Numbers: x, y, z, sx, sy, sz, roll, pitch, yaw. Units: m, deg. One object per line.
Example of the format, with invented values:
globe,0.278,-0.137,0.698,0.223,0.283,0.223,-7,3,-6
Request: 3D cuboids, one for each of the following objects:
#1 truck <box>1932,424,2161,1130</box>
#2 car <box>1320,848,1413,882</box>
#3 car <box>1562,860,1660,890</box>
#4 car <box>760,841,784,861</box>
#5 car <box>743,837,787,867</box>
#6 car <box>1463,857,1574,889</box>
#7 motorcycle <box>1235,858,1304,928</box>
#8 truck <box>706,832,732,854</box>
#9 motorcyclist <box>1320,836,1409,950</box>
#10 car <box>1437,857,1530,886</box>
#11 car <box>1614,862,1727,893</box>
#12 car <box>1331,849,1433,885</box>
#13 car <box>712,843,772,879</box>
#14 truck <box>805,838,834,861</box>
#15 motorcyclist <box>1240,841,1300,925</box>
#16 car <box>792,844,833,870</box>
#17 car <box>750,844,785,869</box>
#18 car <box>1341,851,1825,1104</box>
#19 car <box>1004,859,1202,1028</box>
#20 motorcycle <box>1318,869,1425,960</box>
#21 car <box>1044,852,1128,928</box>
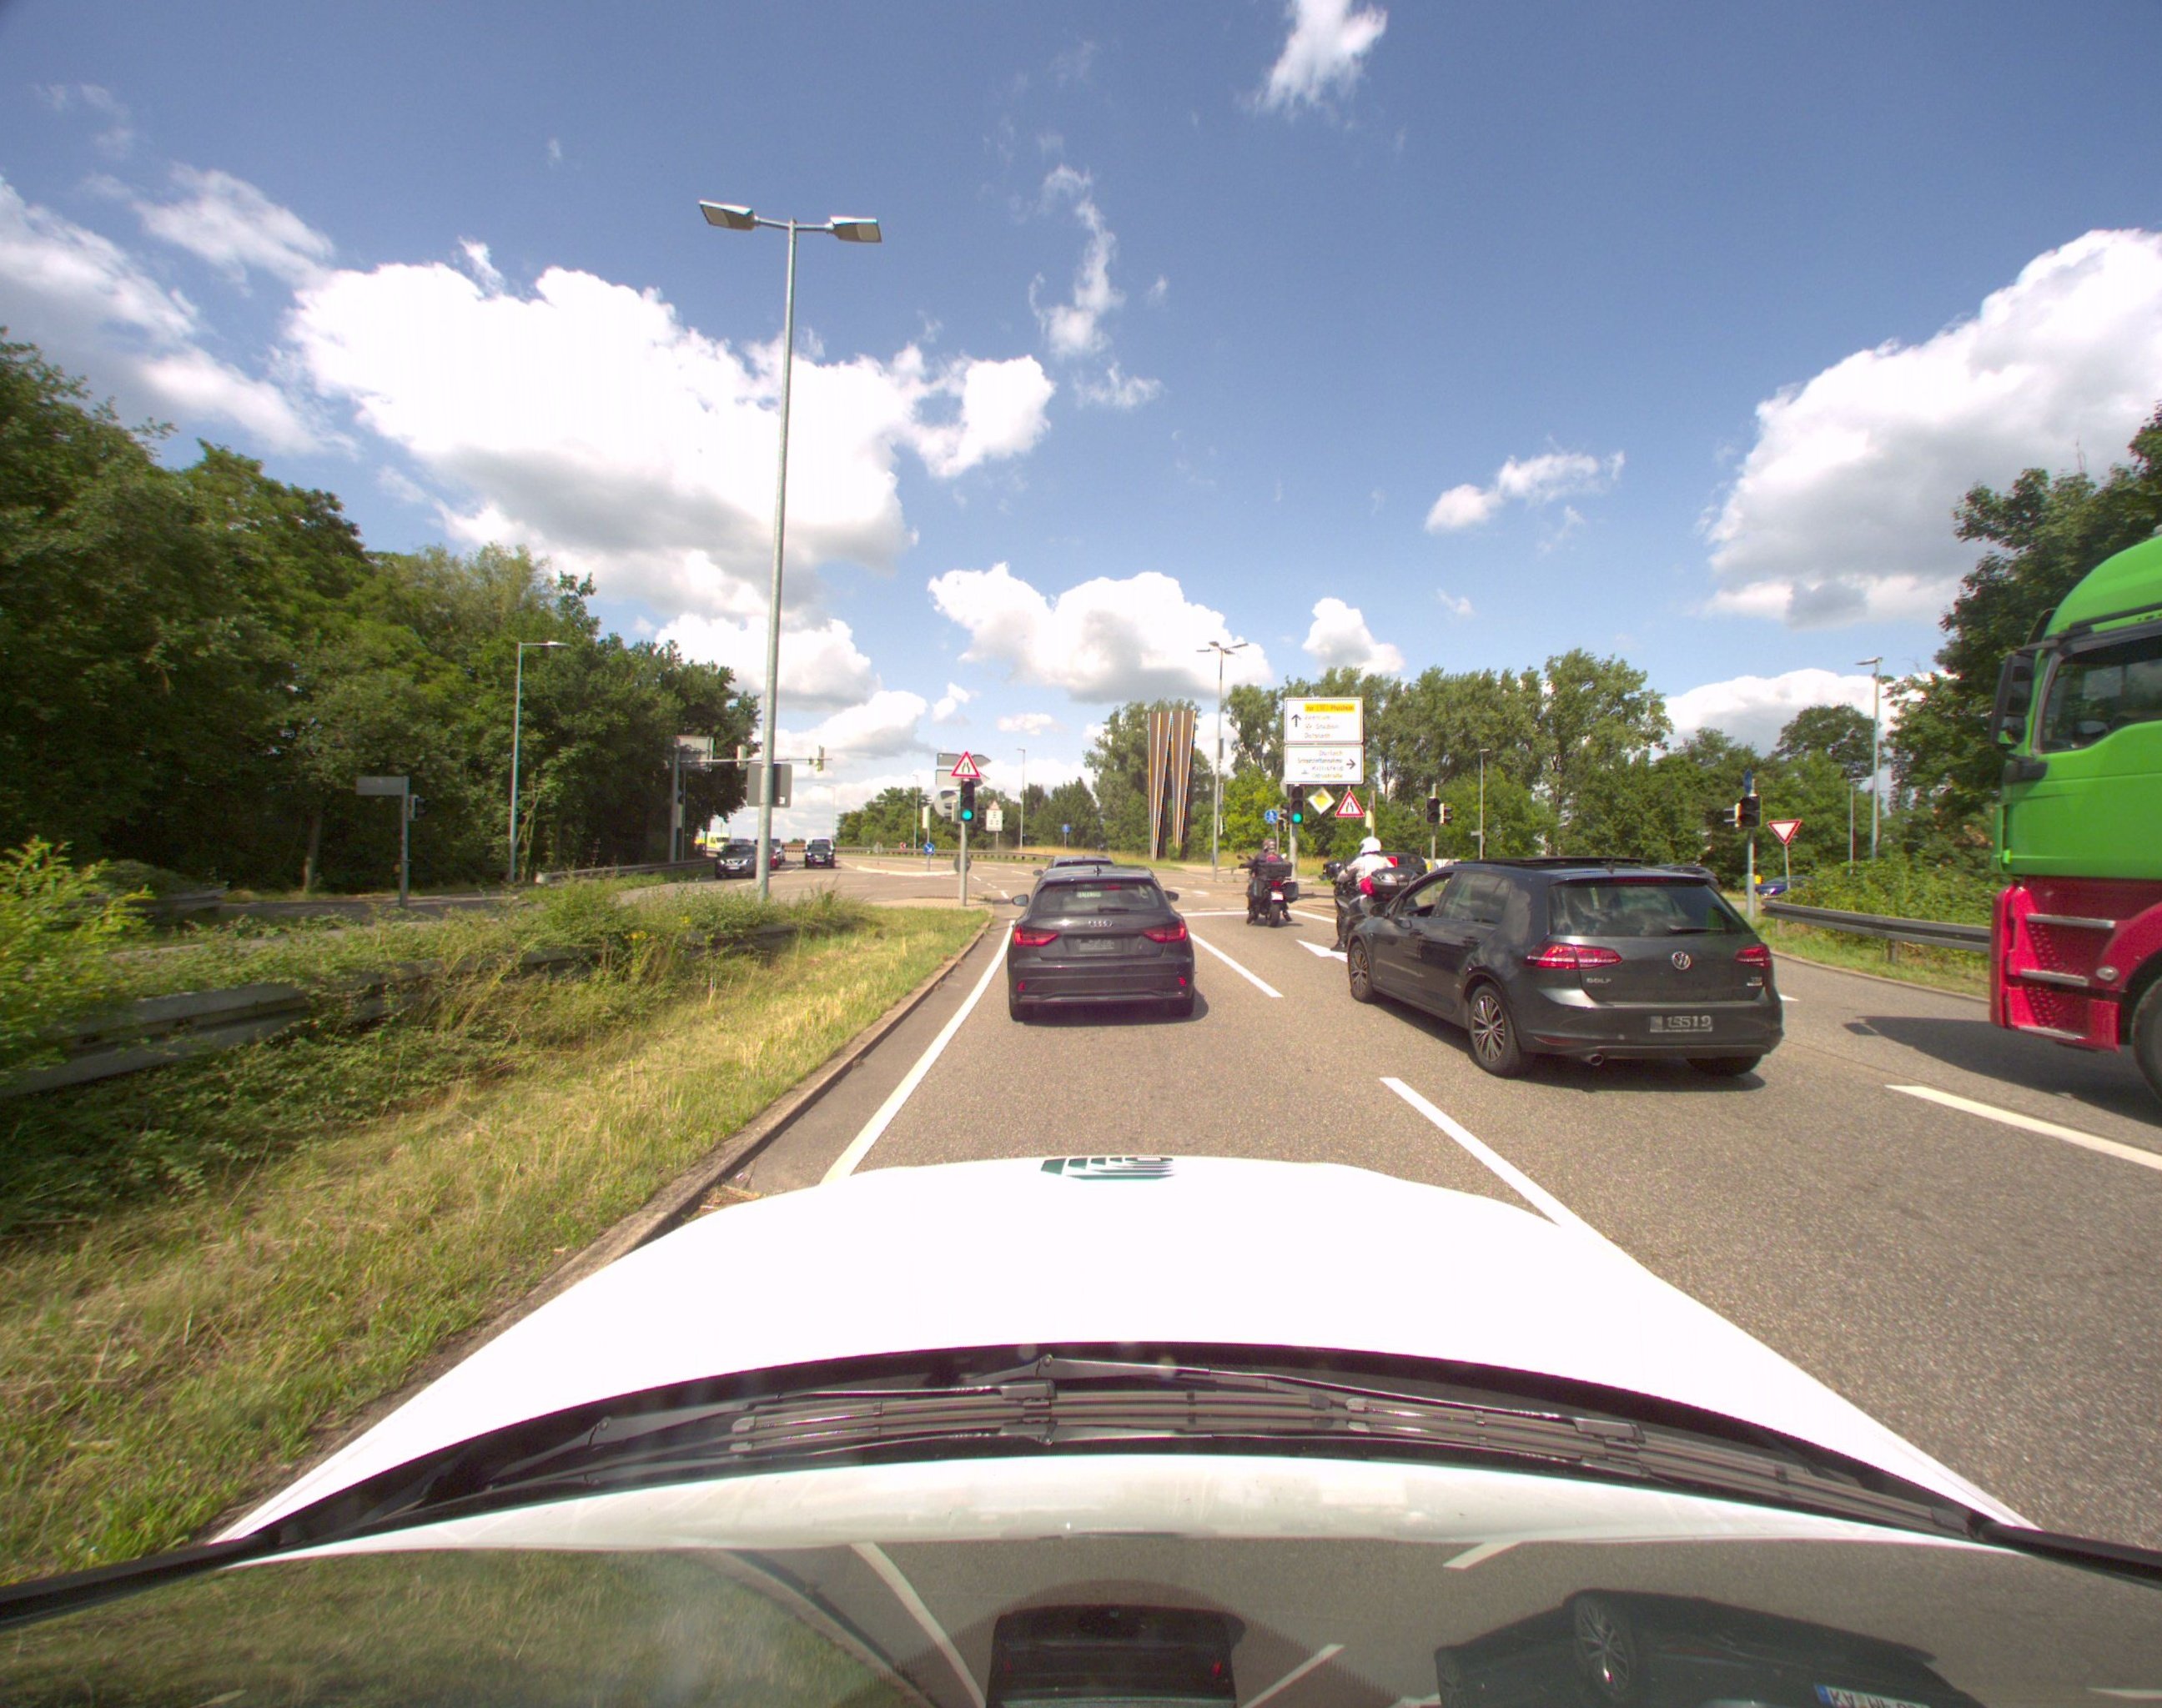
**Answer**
truck,7.285,-0.385,2.690,2.857,3.903,5.882,3,0,3
car,15.010,0.555,42.958,4.189,1.645,1.837,2,1,-1
car,28.461,1.121,43.801,4.189,1.375,1.700,2,1,-1
car,-25.465,-0.240,67.141,1.740,1.520,4.038,-2,1,-22
car,-22.642,-0.125,58.263,2.007,2.013,5.084,-2,0,-32
car,21.270,0.905,39.689,4.515,1.375,1.646,2,1,-1
motorcycle,3.712,0.732,16.232,0.884,1.247,2.400,0,0,2
truck,-45.765,-1.469,103.104,1.998,2.620,6.072,-2,2,-16
motorcyclist,4.215,0.556,12.195,0.962,1.620,1.125,0,0,1
car,21.433,0.934,43.456,4.189,1.375,1.646,2,1,-1
car,28.910,1.145,40.036,4.385,1.290,1.646,2,1,-1
car,14.622,0.627,39.681,4.268,1.617,1.844,2,-1,-1
car,-16.086,0.291,38.847,1.710,1.586,4.267,-2,0,-10
truck,-21.827,-0.406,67.914,1.968,1.913,5.332,0,1,-22
motorcyclist,3.710,0.546,16.072,0.962,1.596,1.125,0,0,1
car,-16.674,0.141,50.461,1.708,1.557,3.786,0,1,-30
car,-19.073,0.151,49.691,1.584,1.432,3.979,-1,1,-15
car,3.575,0.717,6.725,1.637,1.479,3.872,0,0,0
car,0.245,0.784,8.869,1.675,1.387,3.741,-1,0,2
motorcycle,4.187,0.820,11.956,0.786,1.132,2.400,0,0,2
car,0.101,0.690,17.797,1.637,1.479,3.872,0,0,0
